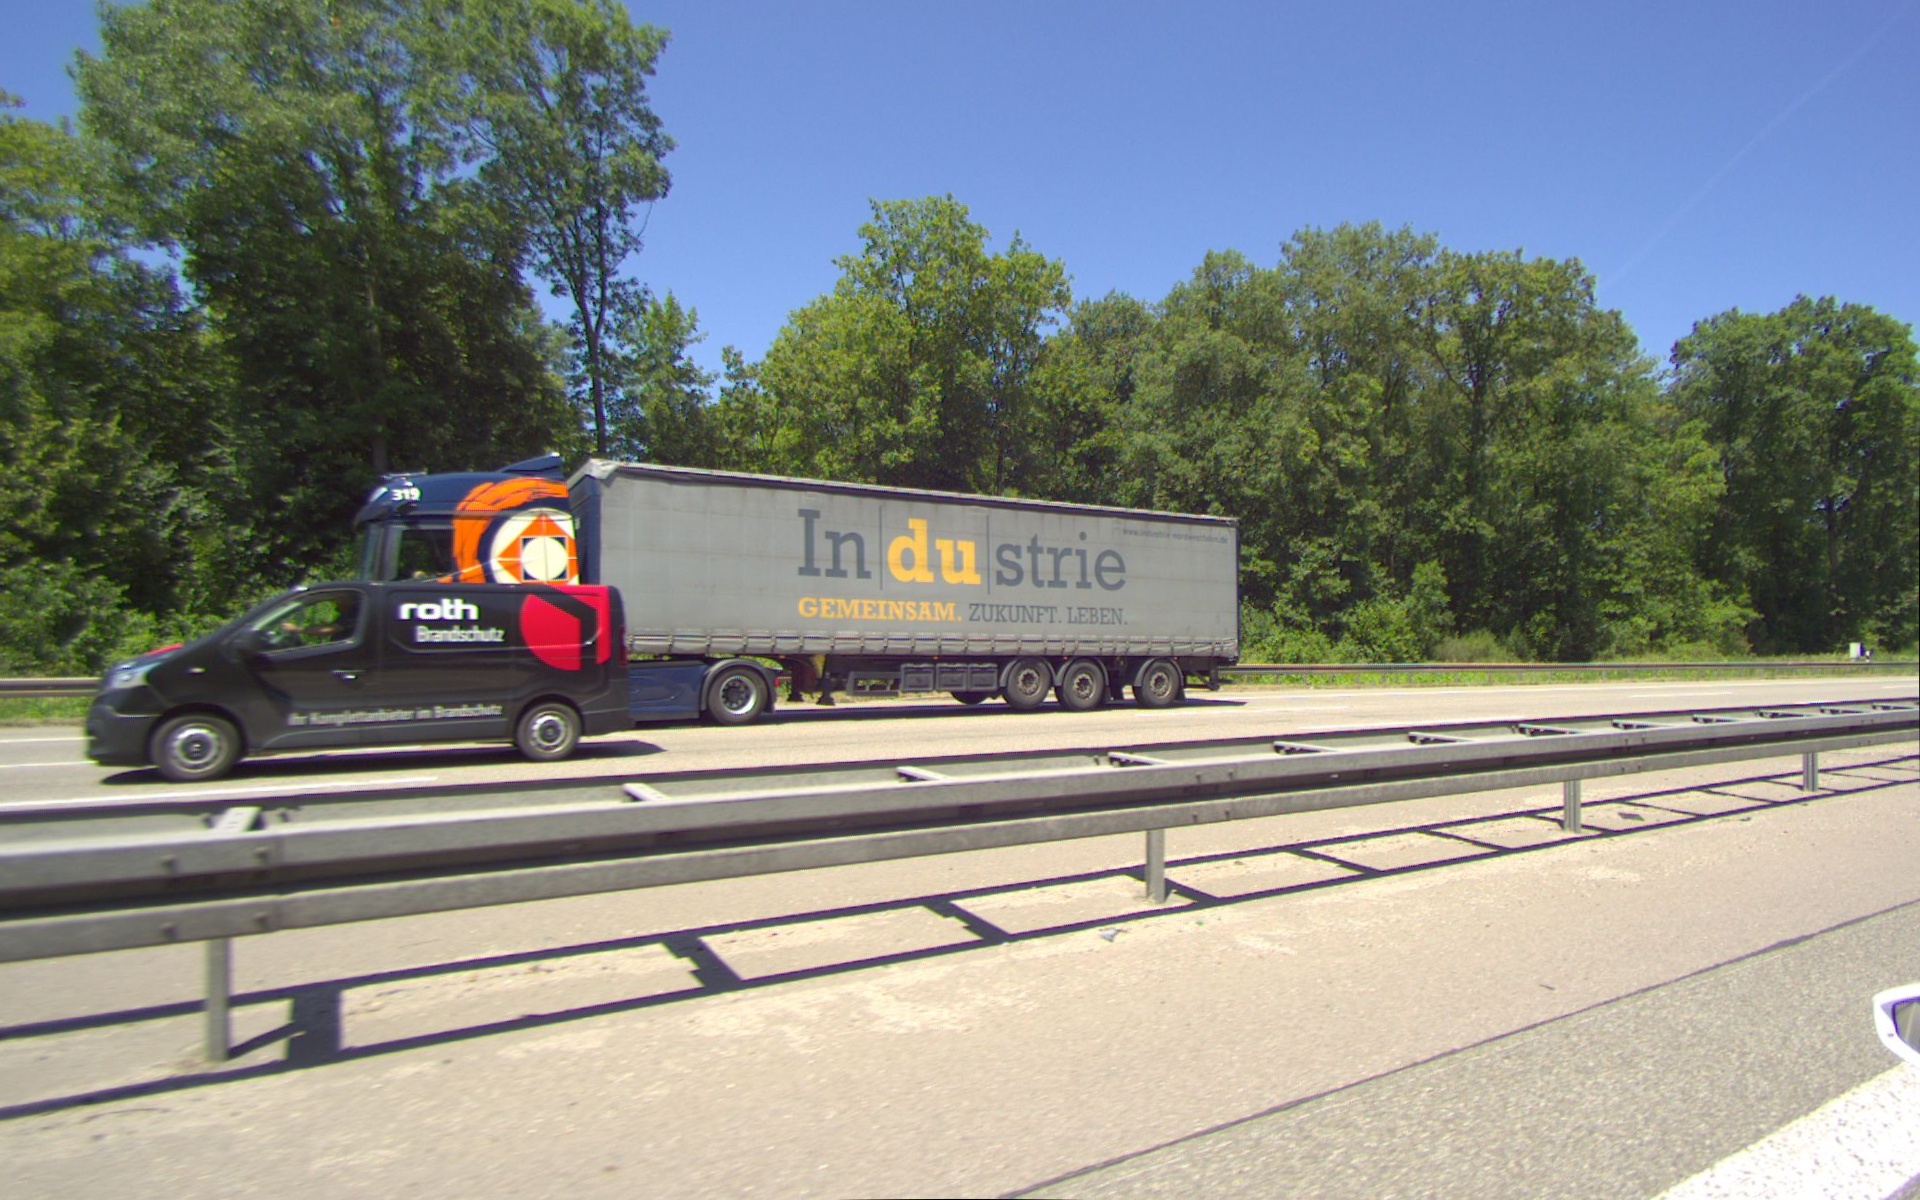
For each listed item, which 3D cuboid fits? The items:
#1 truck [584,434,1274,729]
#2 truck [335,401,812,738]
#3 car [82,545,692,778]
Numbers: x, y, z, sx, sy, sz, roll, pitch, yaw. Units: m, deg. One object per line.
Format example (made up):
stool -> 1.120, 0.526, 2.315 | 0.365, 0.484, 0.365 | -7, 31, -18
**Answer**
truck -> 0.103, -0.066, 19.971 | 13.750, 4.399, 3.307 | 2, 0, -31
truck -> -6.121, -0.310, 16.243 | 6.537, 4.399, 3.307 | 2, 0, -31
car -> -5.858, 0.673, 11.019 | 5.296, 2.040, 1.985 | 2, -4, -30
